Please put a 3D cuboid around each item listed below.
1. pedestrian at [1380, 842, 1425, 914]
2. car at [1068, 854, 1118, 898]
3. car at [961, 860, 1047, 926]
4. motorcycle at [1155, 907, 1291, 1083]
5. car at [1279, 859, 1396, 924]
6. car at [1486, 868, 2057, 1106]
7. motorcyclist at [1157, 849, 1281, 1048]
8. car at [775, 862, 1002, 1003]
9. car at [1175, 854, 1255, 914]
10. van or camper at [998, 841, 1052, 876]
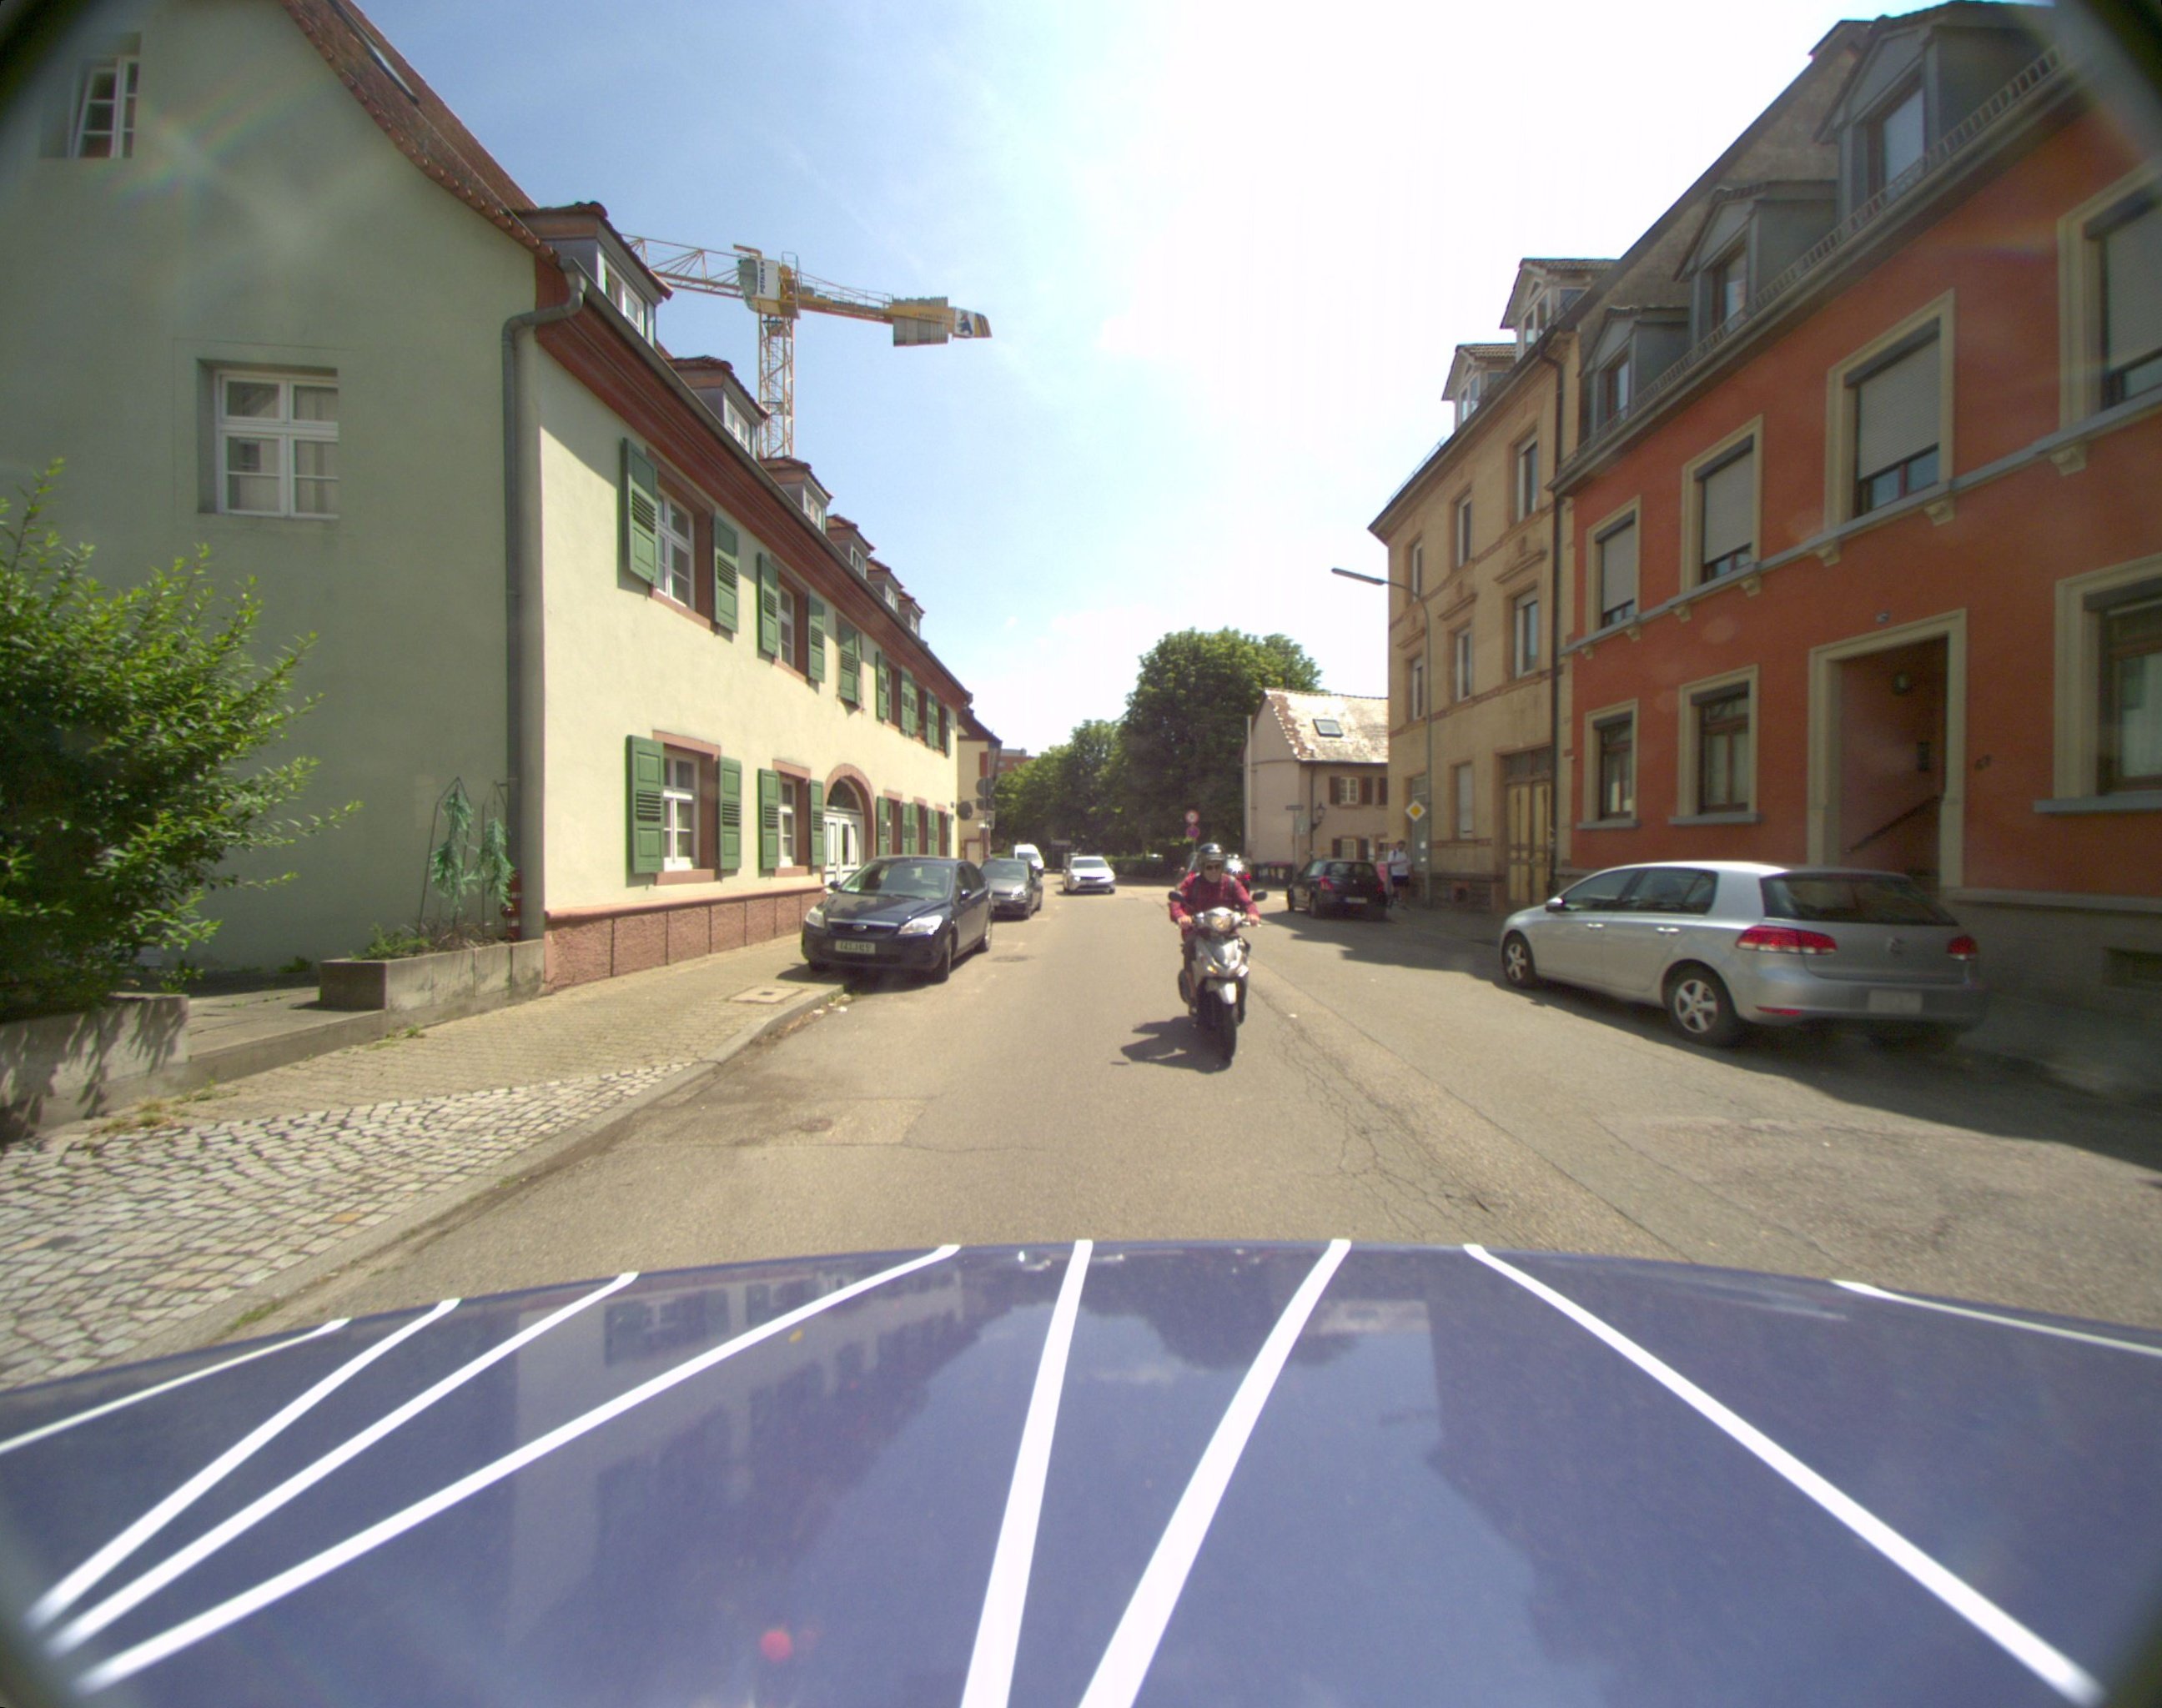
[{"bbox_3d":[8.095,0.598,19.163,0.770,1.761,0.763,-2,1,1],"label":"pedestrian"},{"bbox_3d":[0.463,0.801,29.496,1.812,1.512,4.000,-1,0,1],"label":"car"},{"bbox_3d":[-1.885,0.920,19.767,1.651,1.489,4.000,0,0,3],"label":"car"},{"bbox_3d":[1.067,1.036,6.193,0.760,1.049,1.992,-1,0,1],"label":"motorcycle"},{"bbox_3d":[6.383,0.869,19.376,1.732,1.434,3.857,0,0,1],"label":"car"},{"bbox_3d":[5.584,0.914,6.949,1.714,1.451,3.853,1,0,1],"label":"car"},{"bbox_3d":[1.058,0.688,6.044,0.793,1.431,1.020,-1,1,1],"label":"motorcyclist"},{"bbox_3d":[-2.359,0.892,10.459,1.851,1.506,4.001,0,0,4],"label":"car"},{"bbox_3d":[3.714,0.772,21.700,1.791,1.516,4.064,0,0,3],"label":"car"},{"bbox_3d":[-3.971,0.290,52.731,2.003,2.274,5.133,0,1,-25],"label":"van or camper"}]
